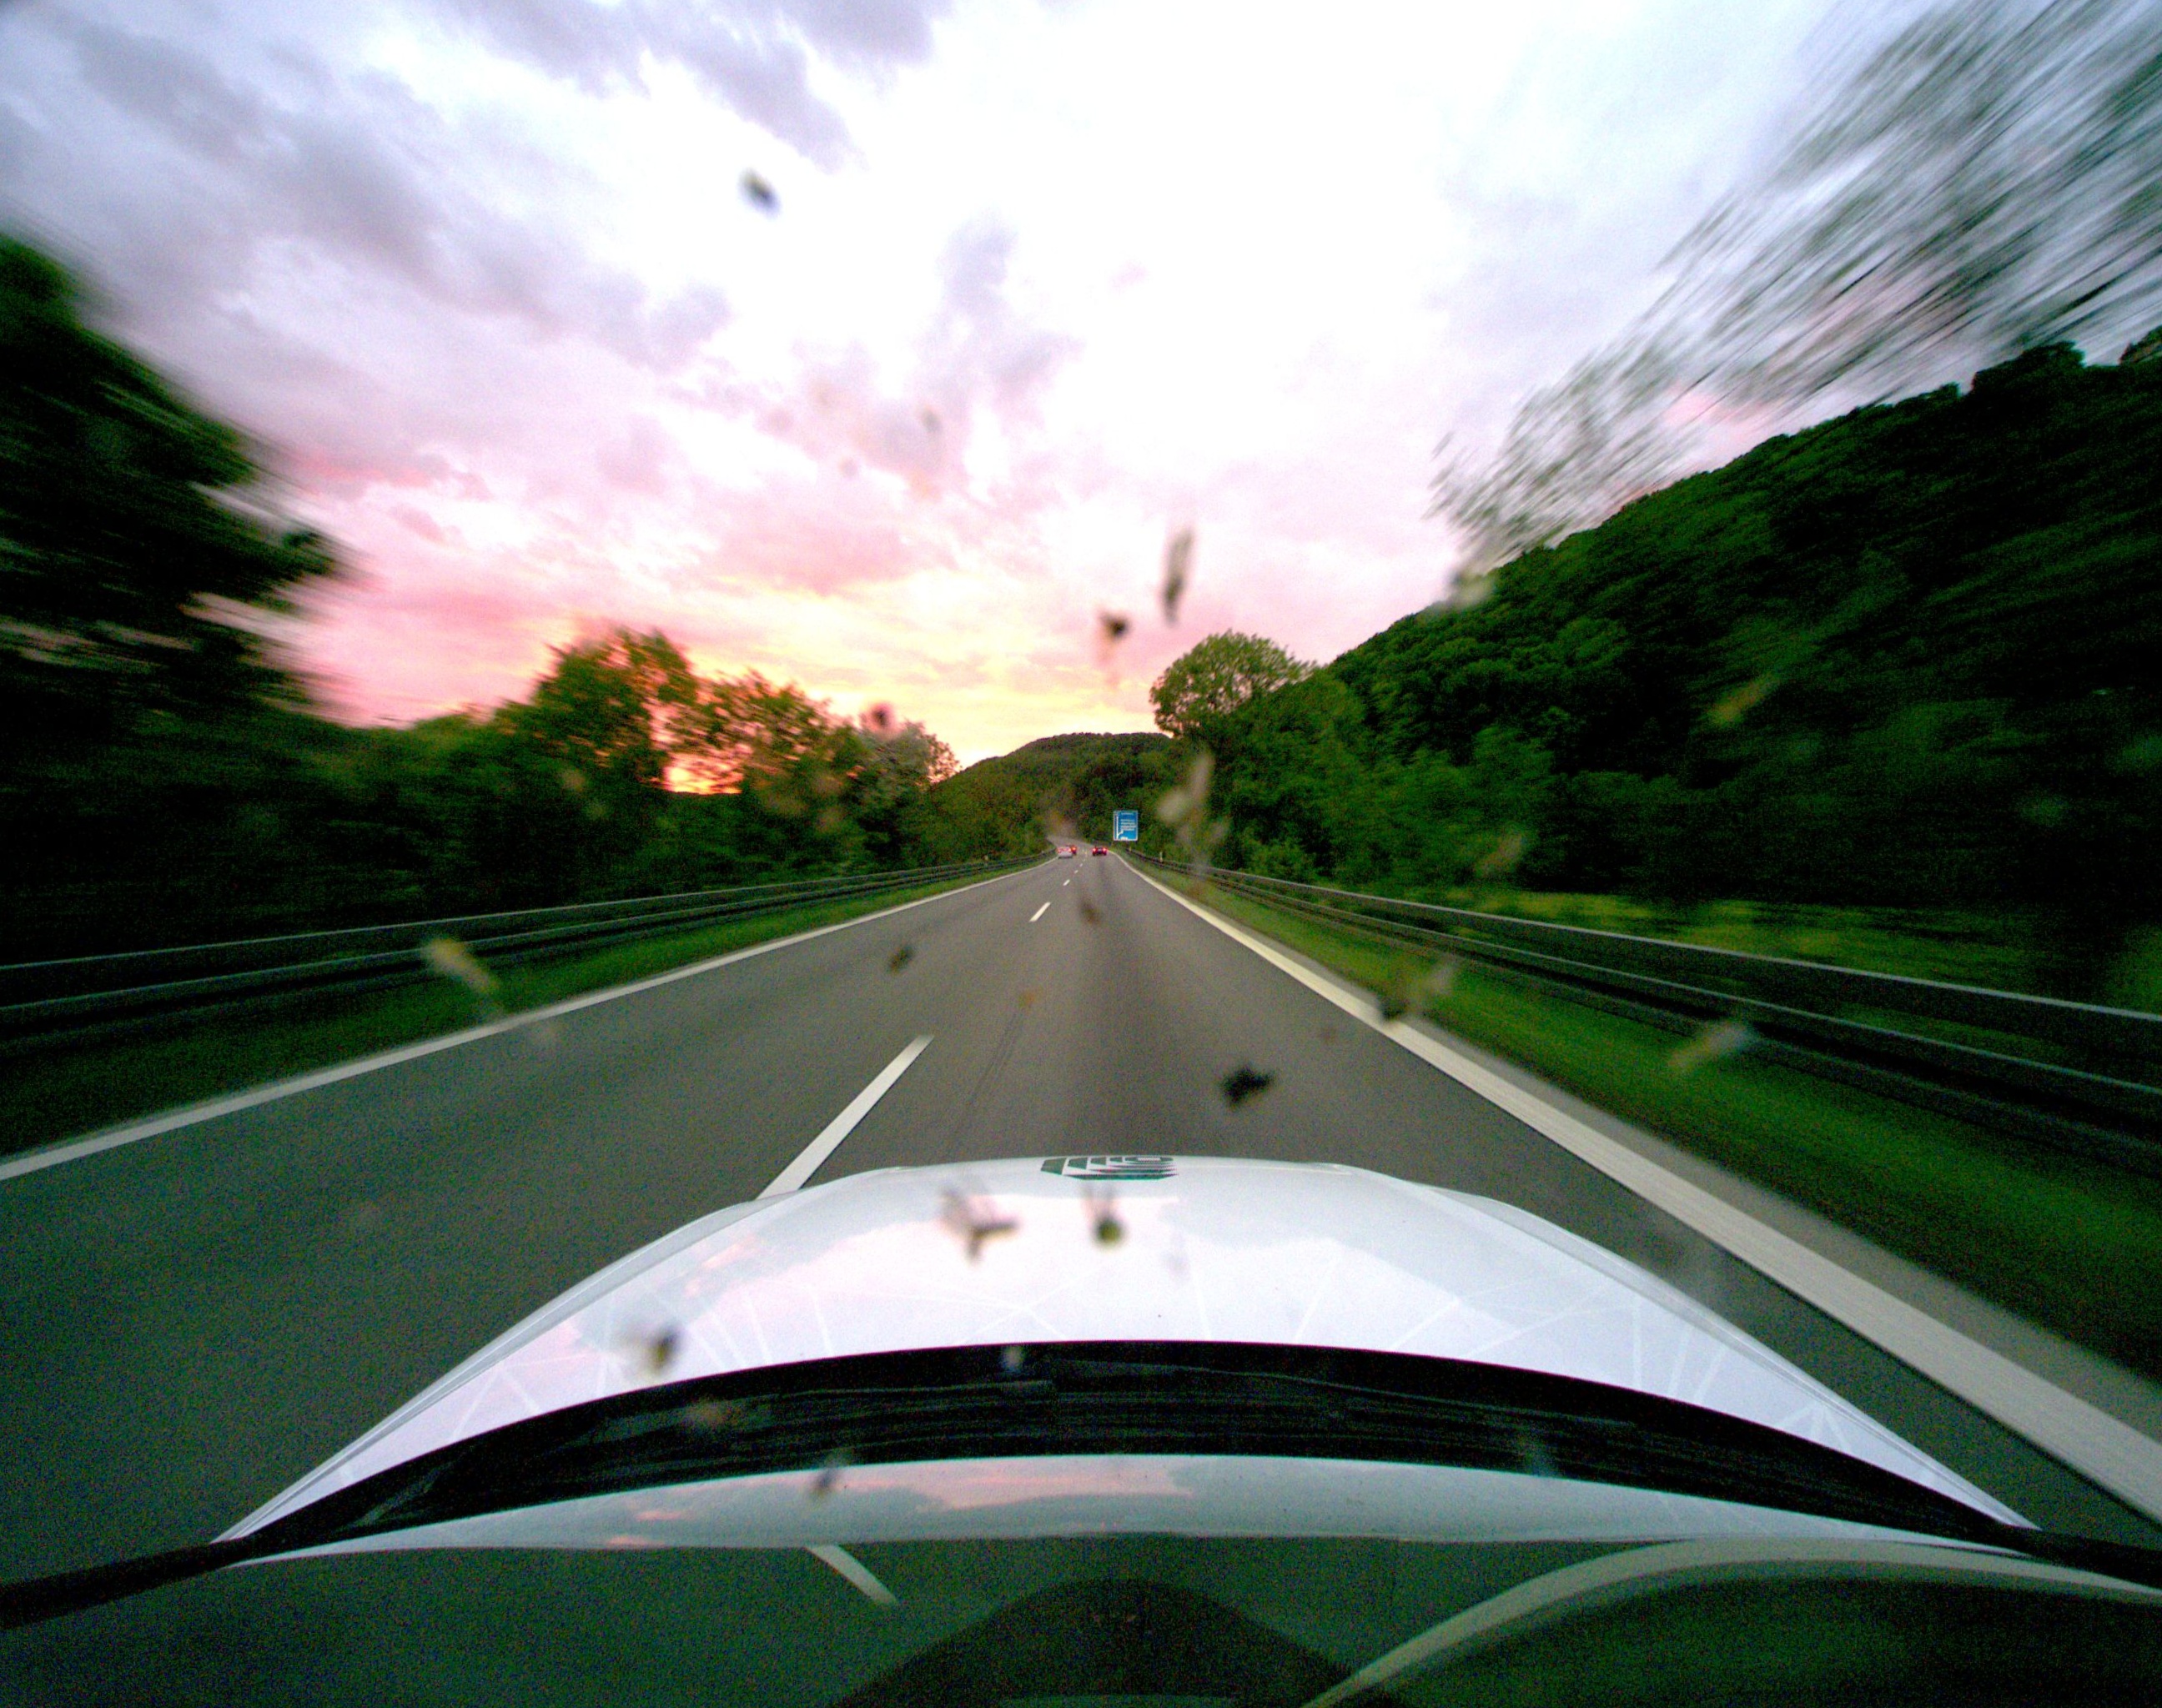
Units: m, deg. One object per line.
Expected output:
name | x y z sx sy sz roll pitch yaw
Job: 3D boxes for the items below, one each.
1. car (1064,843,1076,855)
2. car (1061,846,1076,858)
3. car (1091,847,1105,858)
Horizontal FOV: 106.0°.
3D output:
car | -1.583 -0.704 119.006 1.712 1.635 4.001 -1 1 1
car | -1.600 -0.233 105.926 1.712 1.501 4.001 -1 1 1
car | 2.321 -0.198 111.163 1.871 1.466 4.001 -1 1 1
